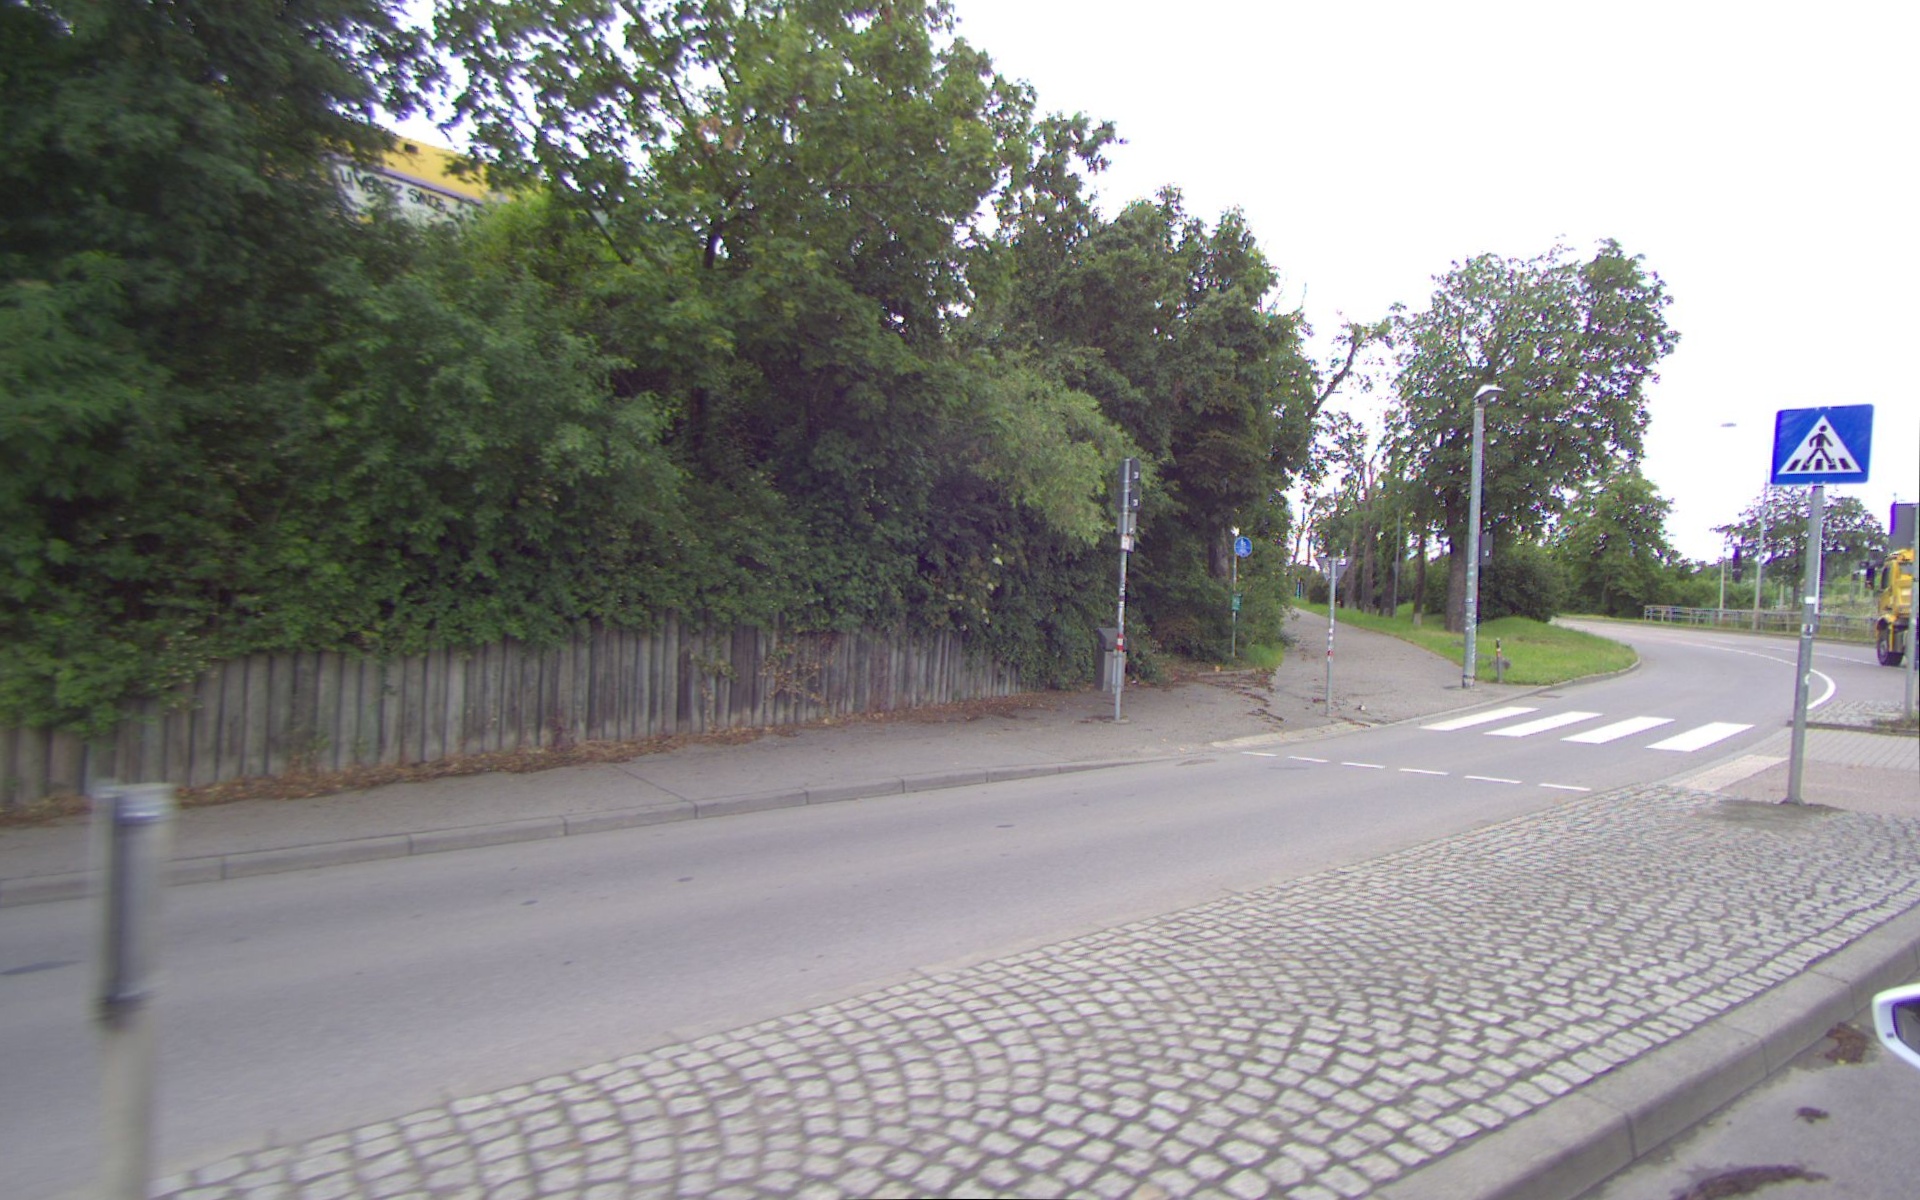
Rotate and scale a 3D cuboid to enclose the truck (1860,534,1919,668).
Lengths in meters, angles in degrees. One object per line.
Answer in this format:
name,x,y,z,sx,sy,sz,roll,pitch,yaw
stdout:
truck,27.450,0.016,27.434,2.725,3.531,8.109,1,2,31
